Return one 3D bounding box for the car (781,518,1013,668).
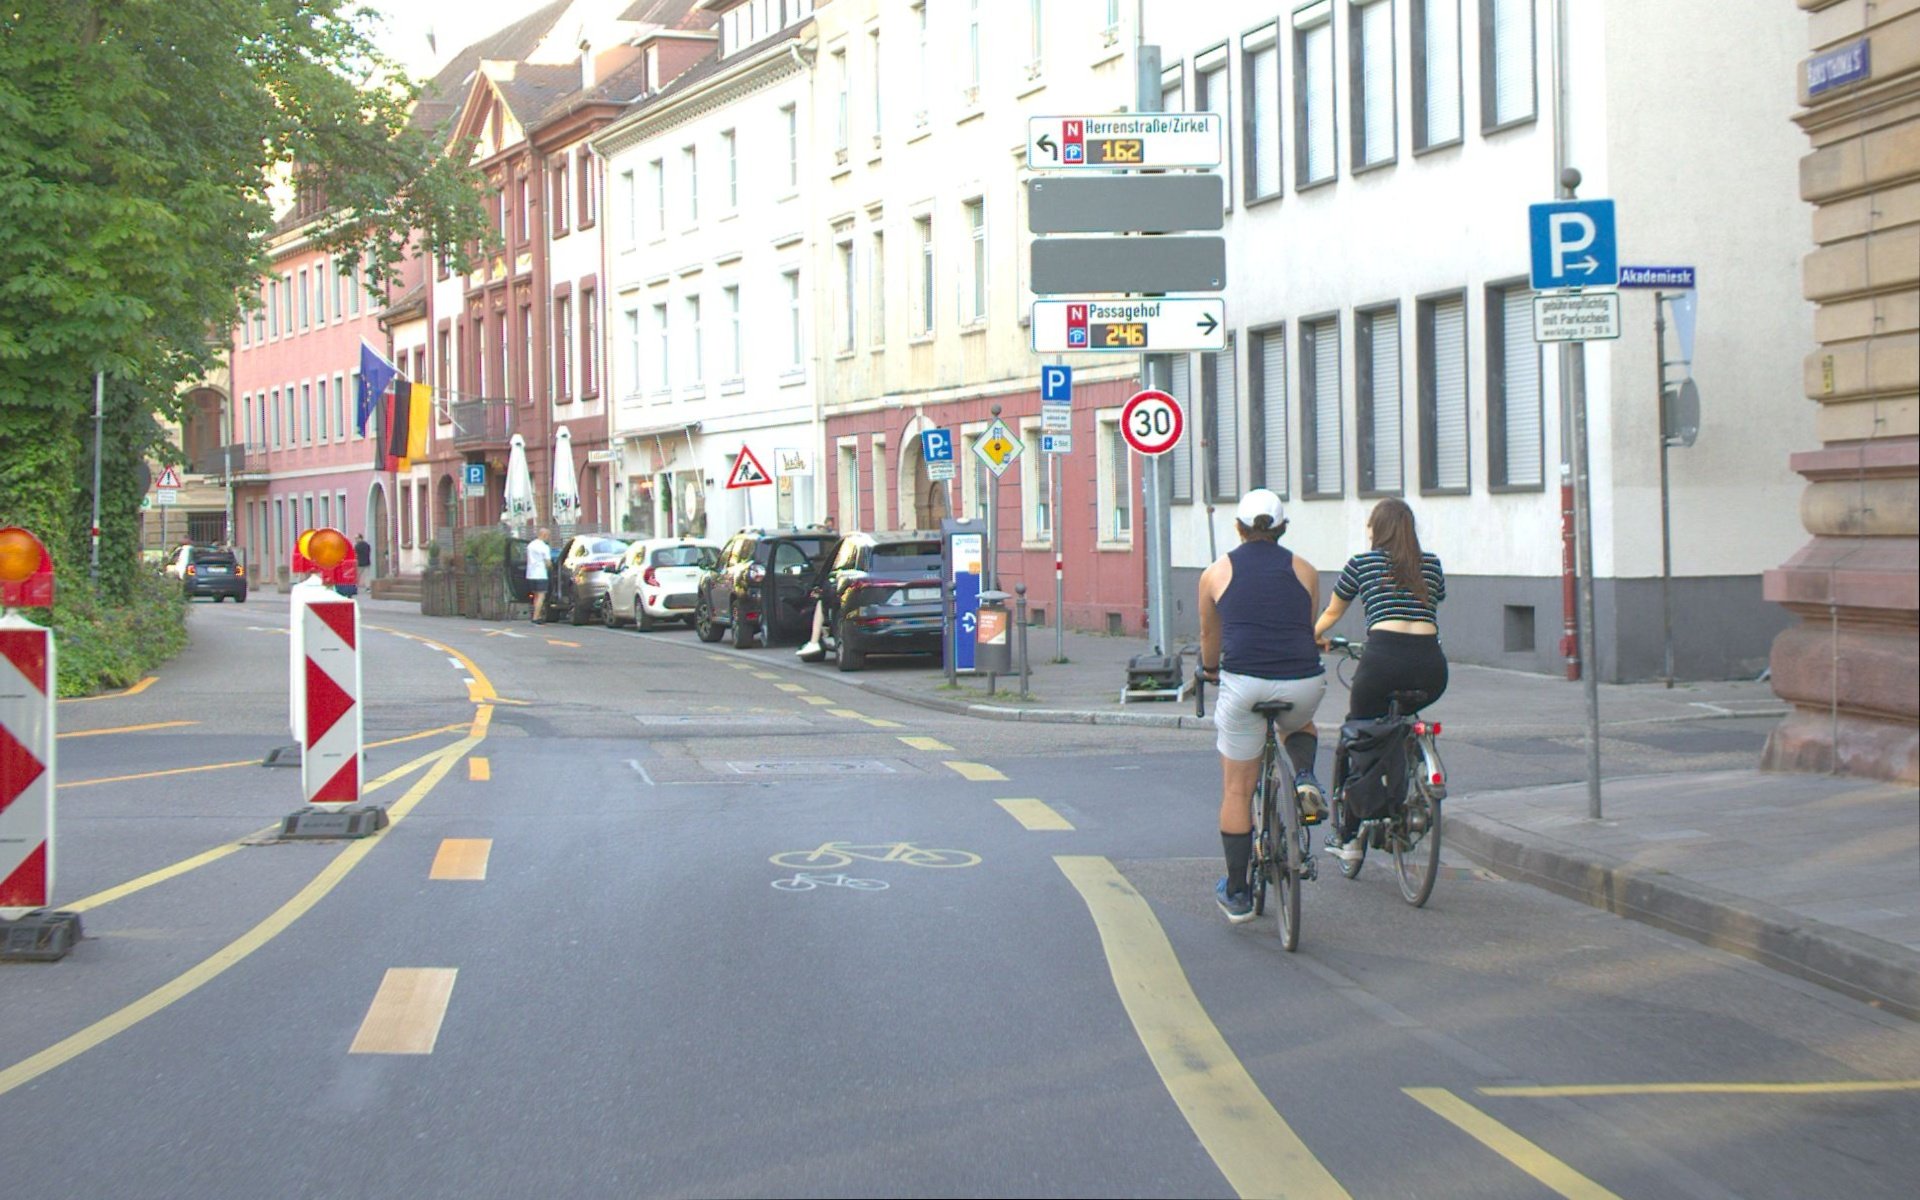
[{"bbox_3d":[-0.807,-0.118,40.829,1.812,1.676,3.921,-1,1,-16],"label":"car"}]

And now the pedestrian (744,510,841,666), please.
[{"bbox_3d":[-2.031,-0.158,41.654,0.900,1.859,0.932,-1,1,-22],"label":"pedestrian"}]

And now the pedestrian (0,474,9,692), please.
[{"bbox_3d":[-7.825,-0.121,26.101,0.736,1.668,0.894,0,1,24],"label":"pedestrian"}]

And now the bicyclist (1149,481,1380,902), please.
[{"bbox_3d":[1.155,0.340,13.148,0.668,1.560,0.699,1,1,-12],"label":"bicyclist"}]

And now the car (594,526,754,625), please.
[{"bbox_3d":[-4.745,-0.429,56.591,1.812,1.554,3.866,-1,1,-17],"label":"car"}]

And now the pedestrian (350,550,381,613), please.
[{"bbox_3d":[-16.710,-0.531,96.555,0.750,1.756,0.586,-1,1,-19],"label":"pedestrian"}]

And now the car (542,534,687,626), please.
[{"bbox_3d":[-6.156,-0.381,60.953,1.812,1.554,3.866,-1,1,-17],"label":"car"}]

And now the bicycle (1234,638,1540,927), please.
[{"bbox_3d":[1.778,0.737,14.694,0.652,1.067,2.259,1,1,-10],"label":"bicycle"}]

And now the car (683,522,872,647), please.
[{"bbox_3d":[-2.634,-0.255,48.701,1.812,1.678,4.001,-1,1,-16],"label":"car"}]

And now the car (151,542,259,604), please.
[{"bbox_3d":[-19.735,-0.719,89.815,1.812,1.554,3.865,-1,1,-27],"label":"car"}]

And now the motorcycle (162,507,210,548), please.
[{"bbox_3d":[-23.444,-2.193,104.051,1.041,1.244,2.399,-1,1,-21],"label":"motorcycle"}]

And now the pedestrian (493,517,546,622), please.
[{"bbox_3d":[-7.795,-0.551,60.849,0.831,1.838,0.958,0,2,-1],"label":"pedestrian"}]

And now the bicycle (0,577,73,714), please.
[{"bbox_3d":[-7.769,0.361,26.247,0.761,1.034,2.118,0,1,24],"label":"bicycle"}]

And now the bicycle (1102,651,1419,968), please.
[{"bbox_3d":[1.119,0.762,13.261,0.669,1.067,1.902,0,1,-12],"label":"bicycle"}]

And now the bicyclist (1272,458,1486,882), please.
[{"bbox_3d":[1.780,0.283,14.702,0.649,1.754,0.864,1,1,-10],"label":"bicyclist"}]

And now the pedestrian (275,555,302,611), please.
[{"bbox_3d":[-19.149,-0.482,98.005,0.667,1.576,0.586,-1,1,-19],"label":"pedestrian"}]
